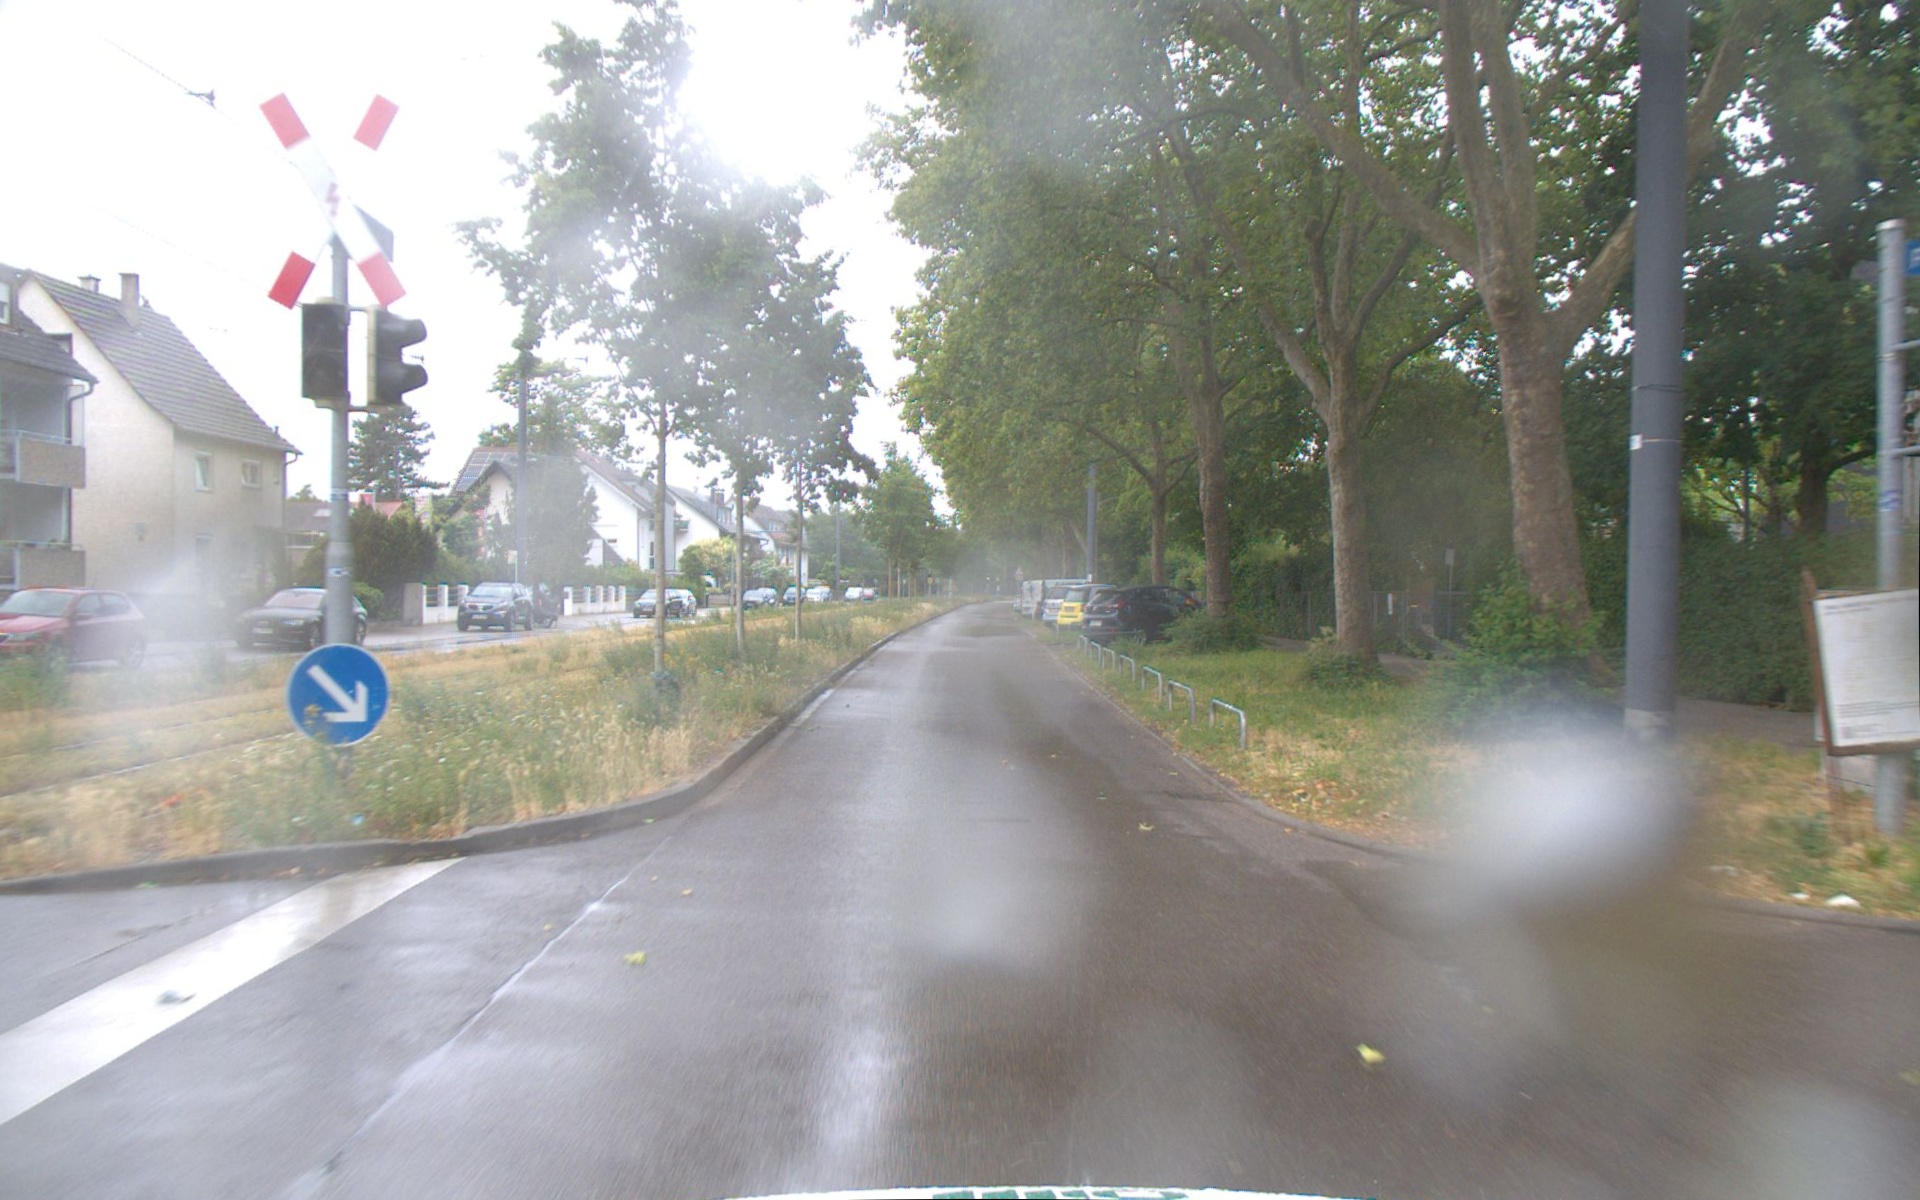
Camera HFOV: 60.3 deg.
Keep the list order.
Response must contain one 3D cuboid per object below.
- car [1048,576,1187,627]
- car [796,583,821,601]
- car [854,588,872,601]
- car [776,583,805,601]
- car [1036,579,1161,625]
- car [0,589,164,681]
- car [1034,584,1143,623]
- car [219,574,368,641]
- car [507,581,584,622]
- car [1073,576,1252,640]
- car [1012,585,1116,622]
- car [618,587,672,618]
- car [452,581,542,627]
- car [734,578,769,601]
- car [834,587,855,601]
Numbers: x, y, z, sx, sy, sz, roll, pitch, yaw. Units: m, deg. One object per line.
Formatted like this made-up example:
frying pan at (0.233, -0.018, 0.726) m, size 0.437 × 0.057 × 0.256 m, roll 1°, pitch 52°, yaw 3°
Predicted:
car at (4.963, 0.052, 52.225) m, size 3.923 × 1.478 × 1.991 m, roll 1°, pitch 0°, yaw -17°
car at (-13.978, -0.733, 152.679) m, size 1.888 × 1.512 × 4.000 m, roll 1°, pitch 0°, yaw 1°
car at (-11.532, -0.685, 196.923) m, size 1.888 × 1.512 × 4.000 m, roll 1°, pitch 0°, yaw 1°
car at (-14.401, -0.679, 140.564) m, size 1.888 × 1.512 × 4.000 m, roll 1°, pitch 0°, yaw 1°
car at (4.831, 0.073, 58.024) m, size 3.923 × 1.478 × 1.991 m, roll 1°, pitch 0°, yaw -17°
car at (-16.120, 0.580, 29.412) m, size 1.888 × 1.512 × 4.000 m, roll 1°, pitch 0°, yaw 1°
car at (5.164, 0.160, 66.616) m, size 3.923 × 1.478 × 1.991 m, roll 1°, pitch 0°, yaw -17°
car at (-16.164, 0.182, 40.333) m, size 1.888 × 1.512 × 4.000 m, roll 1°, pitch 0°, yaw 1°
car at (-15.962, 0.062, 63.872) m, size 1.888 × 1.512 × 4.000 m, roll 1°, pitch 0°, yaw 1°
car at (4.962, 0.207, 40.729) m, size 3.923 × 1.478 × 1.991 m, roll 1°, pitch 0°, yaw -17°
car at (4.344, 0.144, 69.529) m, size 3.923 × 1.478 × 1.991 m, roll 1°, pitch 0°, yaw -17°
car at (-15.939, 0.136, 83.893) m, size 1.888 × 1.512 × 4.000 m, roll 1°, pitch 0°, yaw 1°
car at (-15.951, 0.149, 57.207) m, size 1.888 × 1.512 × 4.000 m, roll 1°, pitch 0°, yaw 1°
car at (-14.886, -0.734, 118.345) m, size 1.888 × 1.512 × 4.000 m, roll 1°, pitch 0°, yaw 1°
car at (-12.736, -0.622, 182.779) m, size 1.888 × 1.512 × 4.000 m, roll 1°, pitch 0°, yaw 1°
